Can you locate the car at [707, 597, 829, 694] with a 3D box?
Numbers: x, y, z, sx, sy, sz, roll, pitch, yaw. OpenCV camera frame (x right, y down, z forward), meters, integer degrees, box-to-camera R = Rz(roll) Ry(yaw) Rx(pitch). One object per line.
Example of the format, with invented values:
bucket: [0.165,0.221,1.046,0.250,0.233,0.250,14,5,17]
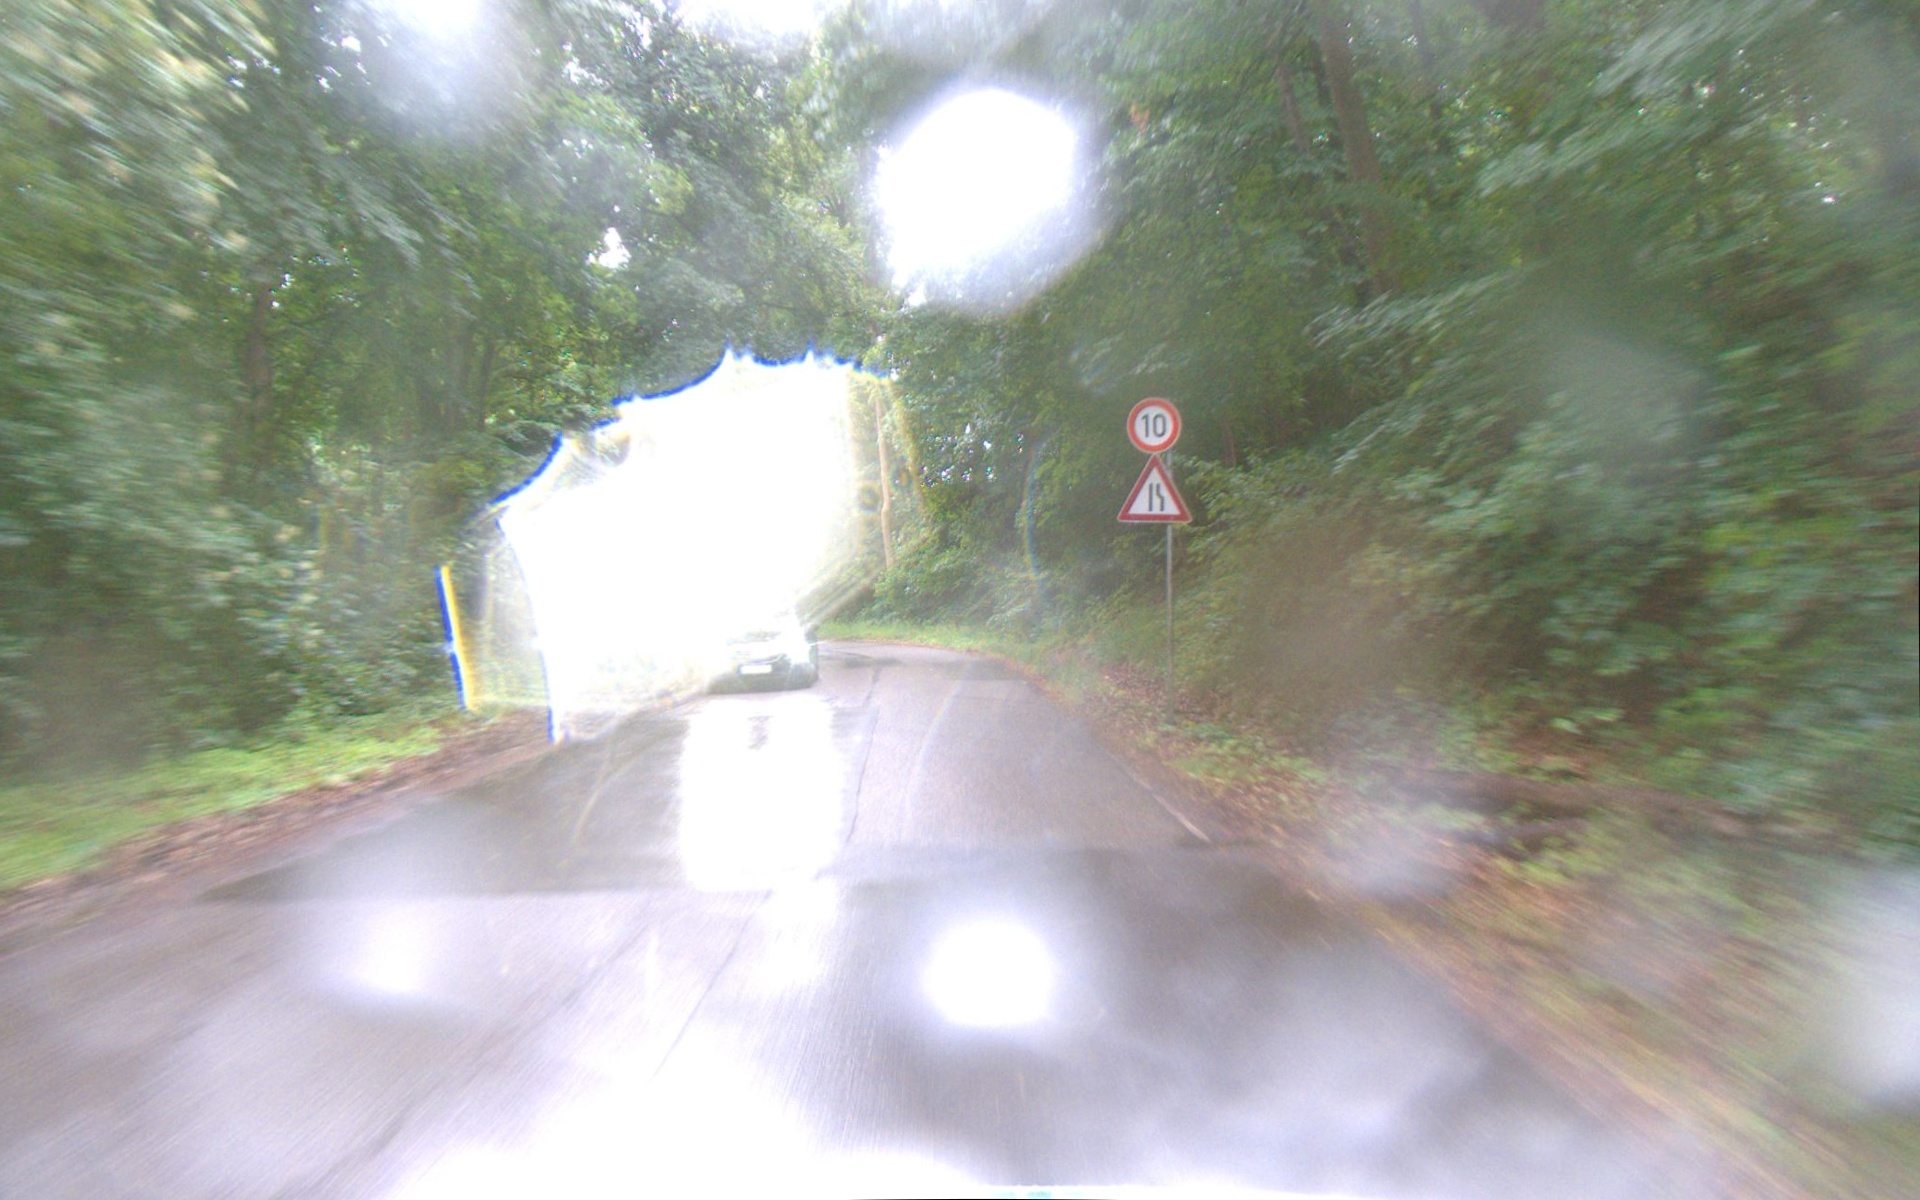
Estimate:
car: [-3.335,0.756,29.354,1.679,1.501,3.890,-3,0,-1]
